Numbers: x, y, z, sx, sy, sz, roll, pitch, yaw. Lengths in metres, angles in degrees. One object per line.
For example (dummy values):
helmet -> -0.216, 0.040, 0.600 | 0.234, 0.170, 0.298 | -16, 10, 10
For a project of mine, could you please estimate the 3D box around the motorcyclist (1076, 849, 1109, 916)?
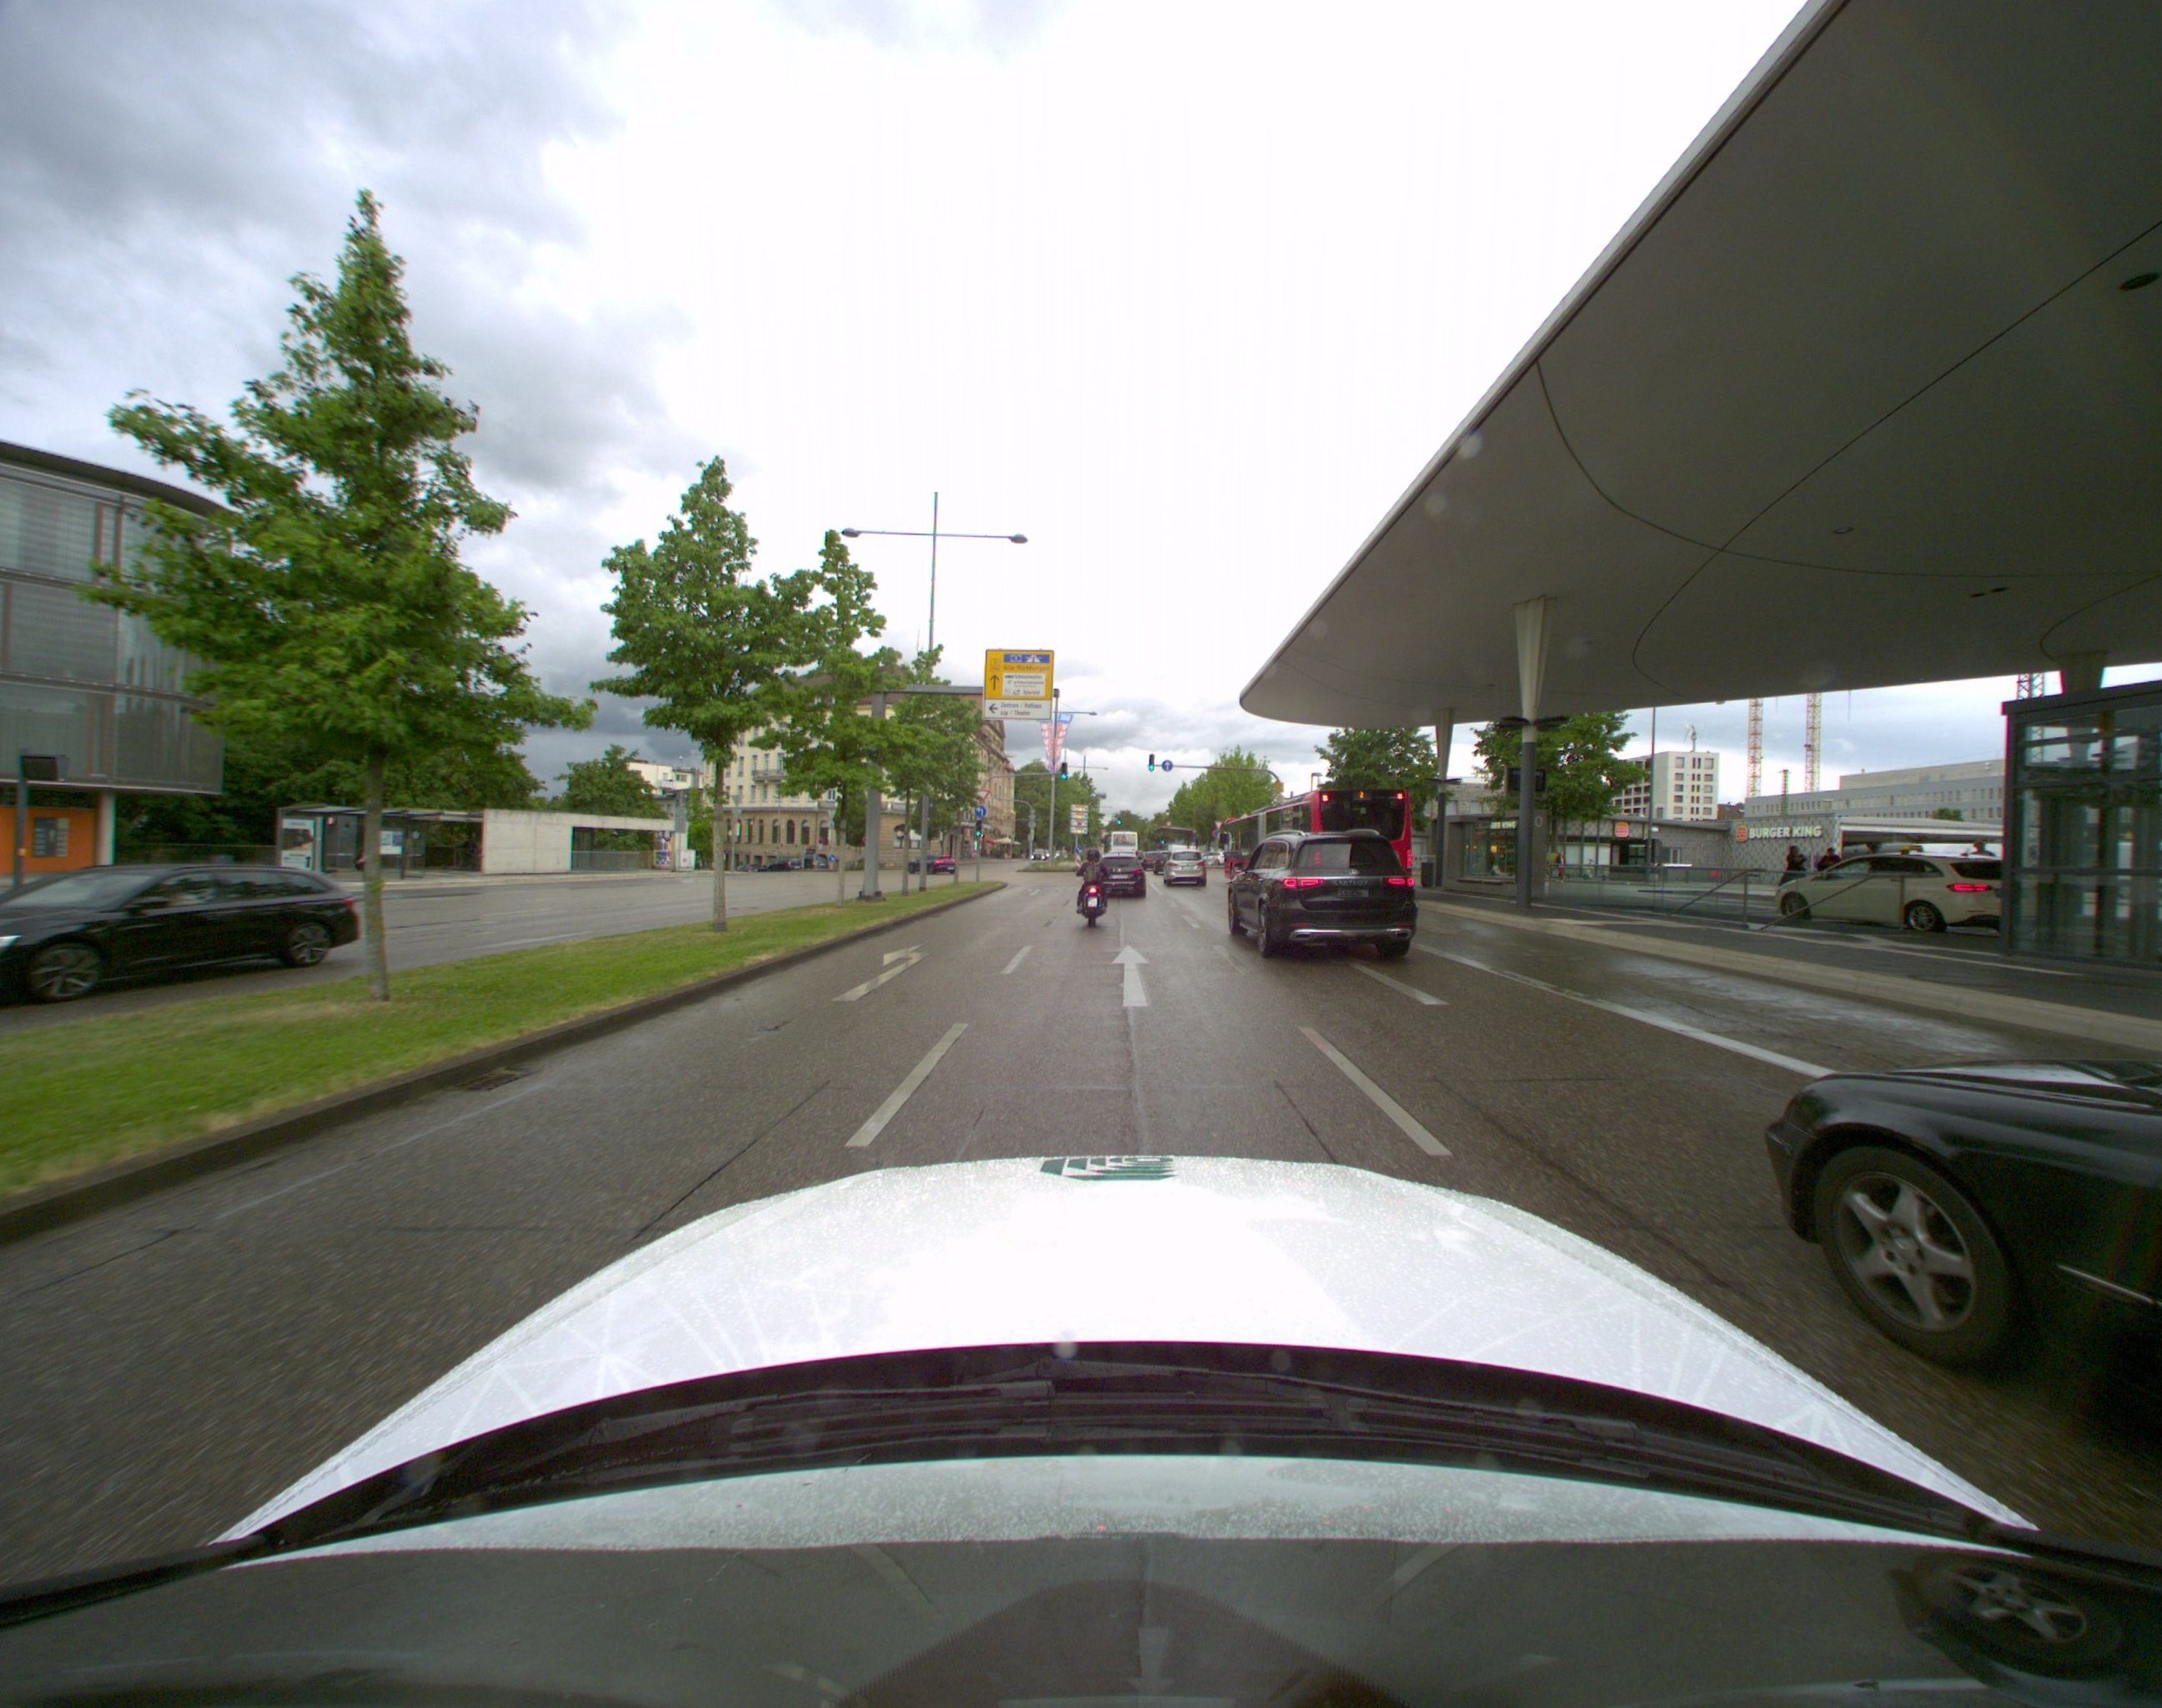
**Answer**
motorcyclist -> 0.246, 0.574, 16.811 | 0.638, 1.347, 0.690 | 0, 0, 5

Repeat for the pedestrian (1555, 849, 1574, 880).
pedestrian -> 25.327, 0.545, 42.676 | 0.601, 1.578, 0.674 | 4, -4, 8

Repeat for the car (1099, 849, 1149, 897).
car -> 1.473, 0.596, 27.860 | 1.569, 1.504, 3.874 | -1, 0, 3

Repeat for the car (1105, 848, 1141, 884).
car -> 1.976, 0.512, 38.428 | 1.569, 1.567, 3.873 | -1, 0, 2

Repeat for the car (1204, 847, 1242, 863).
car -> 14.573, 0.112, 83.836 | 1.588, 1.567, 3.753 | -1, 0, -37

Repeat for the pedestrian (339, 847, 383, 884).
pedestrian -> -26.804, 0.418, 30.321 | 0.967, 1.267, 0.854 | 4, 1, 23

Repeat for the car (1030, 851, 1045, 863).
car -> -5.985, 0.355, 111.763 | 1.773, 1.567, 3.432 | -1, 0, 2

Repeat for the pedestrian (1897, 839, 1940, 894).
pedestrian -> 25.144, 0.387, 24.456 | 0.583, 1.578, 0.766 | 7, -4, -30

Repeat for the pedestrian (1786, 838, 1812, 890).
pedestrian -> 22.953, 0.311, 26.028 | 0.574, 1.578, 0.777 | 1, -5, 42

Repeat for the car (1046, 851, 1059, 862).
car -> -4.177, 0.326, 118.062 | 1.569, 1.567, 3.432 | -1, 0, 2

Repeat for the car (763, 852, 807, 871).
car -> -25.867, 0.638, 71.166 | 3.658, 1.628, 1.854 | 0, -1, 36

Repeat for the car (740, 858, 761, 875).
car -> -33.371, 1.227, 82.252 | 1.667, 1.604, 3.224 | -3, 1, -27

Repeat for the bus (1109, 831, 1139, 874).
bus -> 4.218, -0.145, 81.876 | 2.827, 3.988, 11.868 | 1, 0, 2

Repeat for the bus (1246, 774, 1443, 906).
bus -> 7.689, -0.357, 25.813 | 3.272, 3.292, 10.886 | 0, 0, 3

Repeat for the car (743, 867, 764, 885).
car -> -33.178, 2.204, 82.454 | 1.668, 1.604, 3.223 | -3, 1, -28

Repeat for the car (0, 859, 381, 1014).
car -> -11.562, 0.828, 10.122 | 1.675, 1.528, 4.638 | 0, 0, 0

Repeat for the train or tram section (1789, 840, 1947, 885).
train or tram section -> 73.991, 0.737, 77.196 | 3.120, 3.659, 12.328 | 4, 0, 2

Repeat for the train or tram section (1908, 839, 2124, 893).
train or tram section -> 73.594, 0.842, 64.829 | 3.120, 3.659, 12.328 | 4, 0, 2

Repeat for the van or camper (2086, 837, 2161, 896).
van or camper -> 46.522, 0.528, 33.724 | 2.086, 2.508, 6.213 | 1, 0, -1

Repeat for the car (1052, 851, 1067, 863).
car -> -2.908, 0.334, 109.904 | 1.773, 1.567, 3.432 | -1, 0, 2

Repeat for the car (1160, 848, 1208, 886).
car -> 4.501, 0.532, 35.908 | 1.734, 1.567, 3.873 | -1, 0, 2

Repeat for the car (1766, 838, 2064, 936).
car -> 16.394, 0.570, 16.390 | 1.705, 1.662, 4.241 | 2, 0, 1

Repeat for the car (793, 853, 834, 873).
car -> -24.833, 0.818, 75.528 | 2.130, 1.776, 4.341 | 0, 0, -40

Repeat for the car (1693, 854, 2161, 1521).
car -> 3.288, 0.803, 1.143 | 1.691, 1.462, 4.305 | 0, 2, 1

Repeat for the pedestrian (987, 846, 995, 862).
pedestrian -> -11.363, -0.063, 103.036 | 0.727, 2.013, 0.820 | 0, 0, -24

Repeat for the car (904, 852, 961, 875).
car -> -10.582, 0.683, 57.875 | 1.833, 1.570, 4.349 | -1, 0, -45

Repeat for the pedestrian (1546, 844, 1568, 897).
pedestrian -> 15.365, 0.538, 26.292 | 0.569, 1.678, 0.586 | 0, -1, 28

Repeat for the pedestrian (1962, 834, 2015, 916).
pedestrian -> 23.159, 0.545, 20.788 | 0.717, 2.014, 0.673 | 2, -4, 28

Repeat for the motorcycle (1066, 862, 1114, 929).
motorcycle -> 0.211, 0.810, 16.612 | 0.789, 1.262, 1.858 | -1, 0, 6

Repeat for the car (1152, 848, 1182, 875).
car -> 5.243, 0.432, 50.148 | 1.569, 1.567, 3.873 | -1, 0, 2

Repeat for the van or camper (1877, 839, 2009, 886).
van or camper -> 43.948, 0.414, 41.576 | 4.673, 2.269, 2.109 | 1, -1, -2

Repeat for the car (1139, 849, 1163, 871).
car -> 5.241, 0.449, 61.128 | 1.569, 1.567, 3.798 | -1, 0, 2

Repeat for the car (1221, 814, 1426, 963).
car -> 3.554, 0.437, 12.979 | 1.950, 1.876, 4.876 | -1, 0, 2

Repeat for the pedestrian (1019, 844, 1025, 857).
pedestrian -> -8.807, -0.523, 121.574 | 0.727, 1.966, 0.820 | 0, 0, -24

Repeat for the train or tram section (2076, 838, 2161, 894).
train or tram section -> 73.213, 0.858, 52.860 | 3.120, 3.659, 11.620 | 4, 0, 2

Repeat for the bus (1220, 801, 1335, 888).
bus -> 8.194, -0.369, 35.209 | 3.277, 3.289, 8.856 | 0, 0, 3
